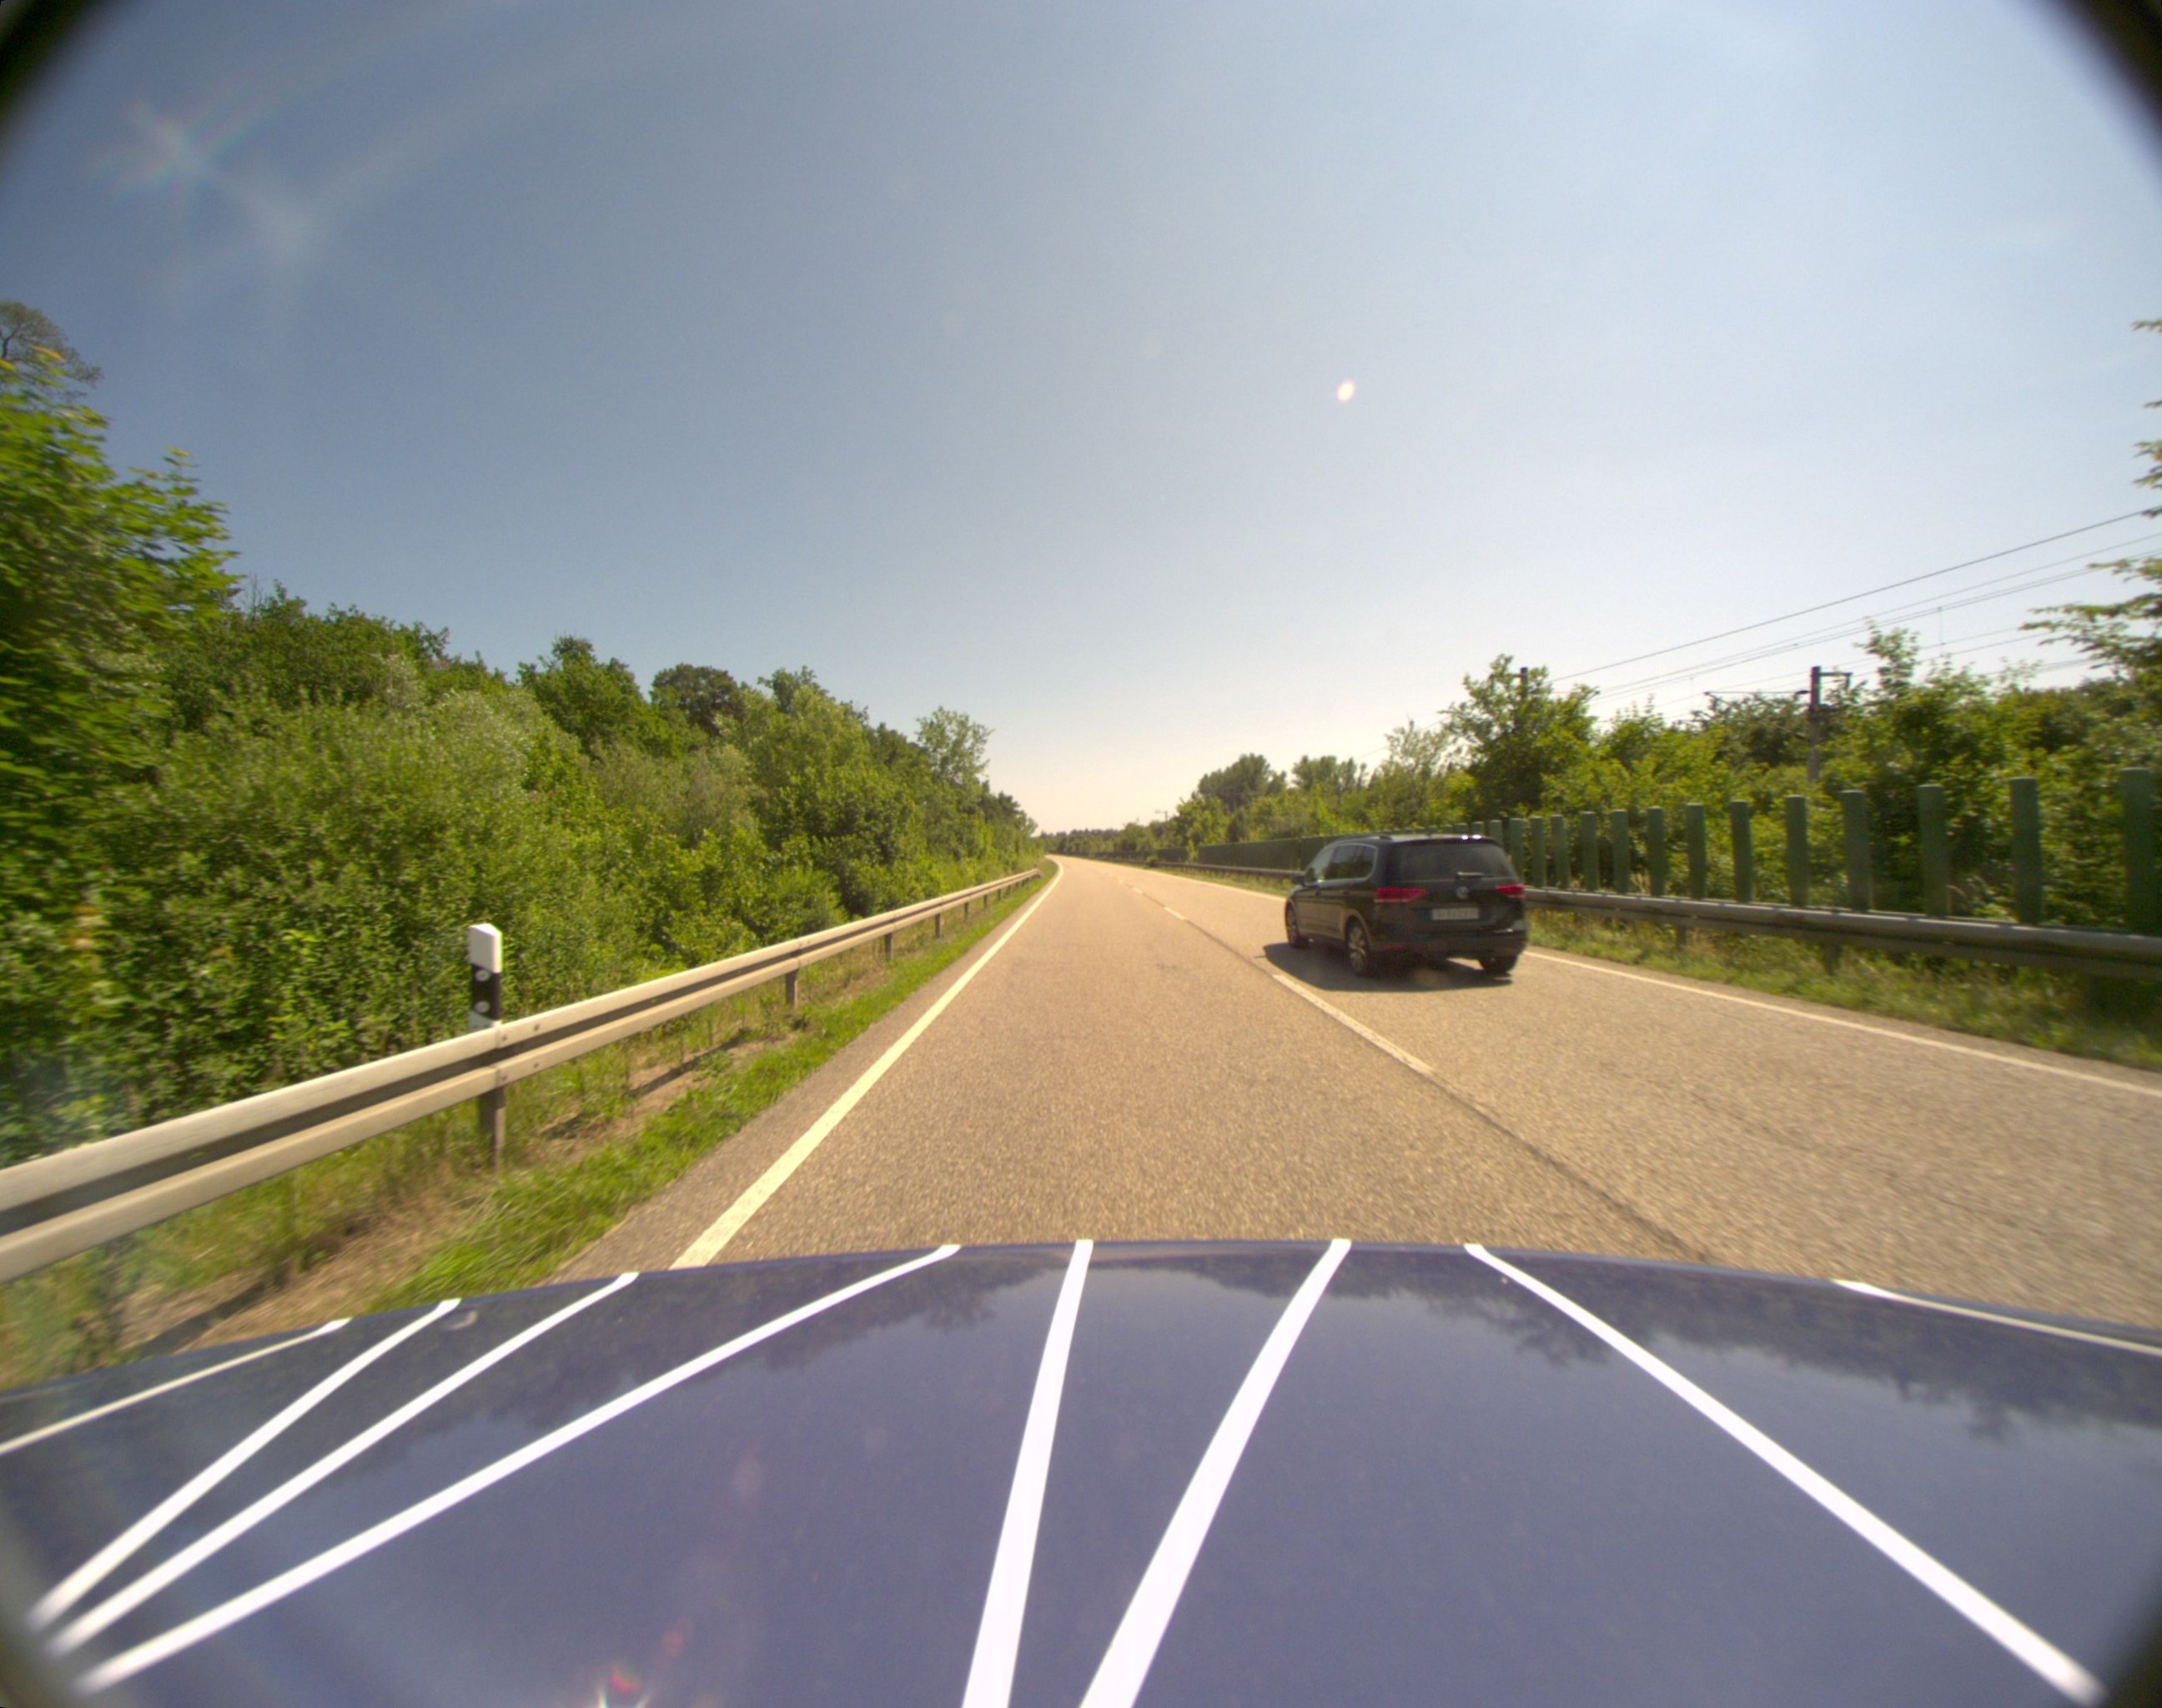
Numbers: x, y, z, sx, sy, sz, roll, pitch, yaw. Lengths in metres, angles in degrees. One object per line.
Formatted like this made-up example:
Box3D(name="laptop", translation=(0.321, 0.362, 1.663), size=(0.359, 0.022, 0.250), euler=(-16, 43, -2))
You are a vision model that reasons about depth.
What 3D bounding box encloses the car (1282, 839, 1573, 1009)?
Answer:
Box3D(name="car", translation=(3.980, 0.689, 9.591), size=(1.768, 1.631, 4.126), euler=(-2, 0, 0))
